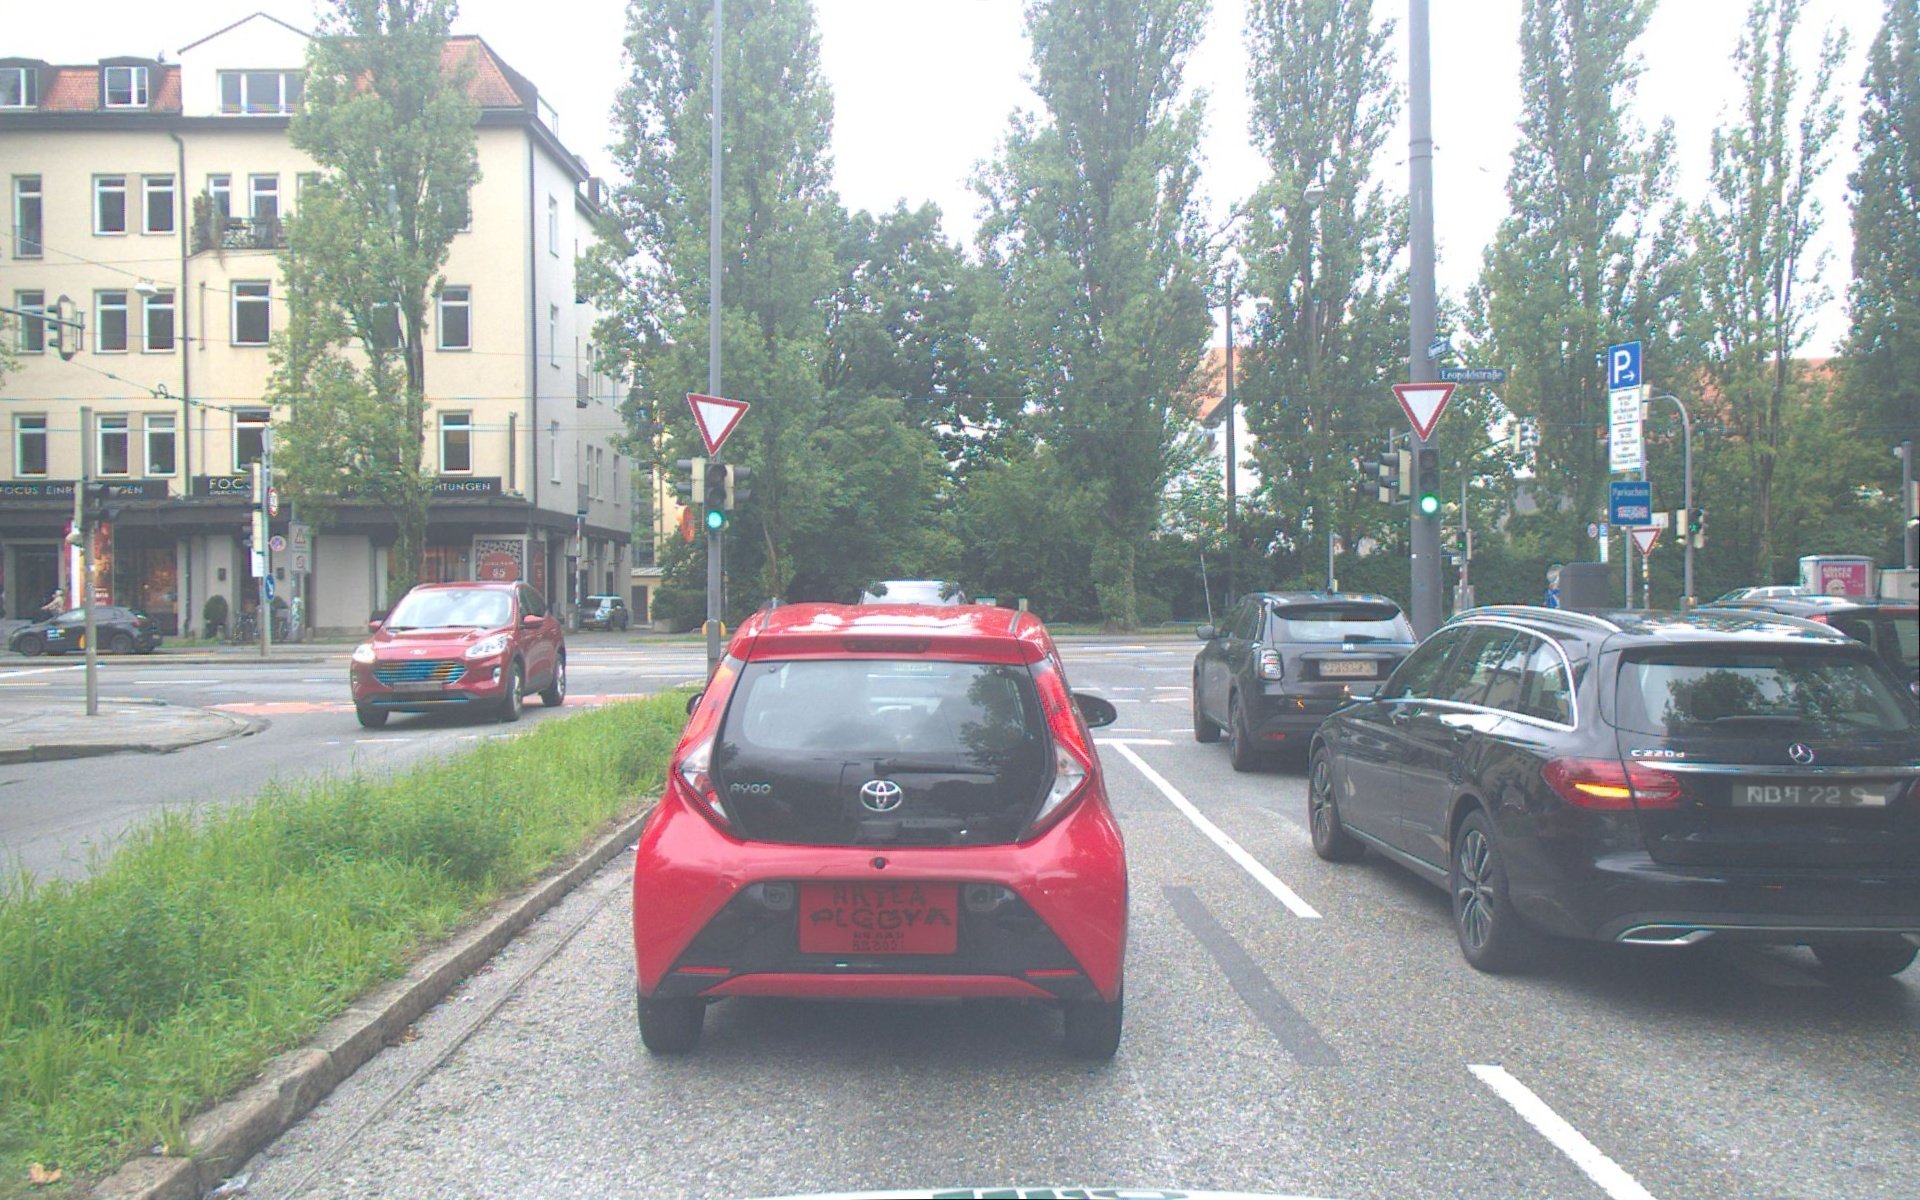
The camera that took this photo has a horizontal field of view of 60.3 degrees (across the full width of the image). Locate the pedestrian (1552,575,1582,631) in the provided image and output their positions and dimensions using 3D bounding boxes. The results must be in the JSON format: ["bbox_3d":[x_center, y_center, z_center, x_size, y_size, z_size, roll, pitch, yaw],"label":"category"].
[{"bbox_3d":[18.235,0.090,49.668,0.689,1.692,0.549,0,-1,39],"label":"pedestrian"}]

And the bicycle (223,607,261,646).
[{"bbox_3d":[-23.024,0.833,53.033,0.485,1.206,1.888,-1,0,-4],"label":"bicycle"}]

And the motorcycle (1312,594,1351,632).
[{"bbox_3d":[11.868,0.417,52.924,0.616,1.190,2.027,1,0,-6],"label":"motorcycle"}]

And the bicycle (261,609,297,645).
[{"bbox_3d":[-21.823,0.860,53.036,0.485,1.100,1.888,-1,0,-4],"label":"bicycle"}]

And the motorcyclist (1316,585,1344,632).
[{"bbox_3d":[11.859,0.281,52.981,0.607,1.468,0.880,1,-1,-6],"label":"motorcyclist"}]

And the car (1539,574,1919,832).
[{"bbox_3d":[6.052,0.610,12.444,1.793,1.576,4.554,-1,0,0],"label":"car"}]

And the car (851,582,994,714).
[{"bbox_3d":[-0.437,0.567,22.265,1.700,1.576,4.576,-1,0,0],"label":"car"}]

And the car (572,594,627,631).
[{"bbox_3d":[-14.988,0.489,68.948,1.691,1.467,3.997,-1,0,-4],"label":"car"}]

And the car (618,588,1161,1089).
[{"bbox_3d":[-0.197,0.696,6.600,1.595,1.465,3.377,-1,0,0],"label":"car"}]

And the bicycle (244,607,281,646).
[{"bbox_3d":[-22.336,0.844,52.972,0.485,1.206,1.888,-1,0,-4],"label":"bicycle"}]

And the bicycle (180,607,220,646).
[{"bbox_3d":[-24.353,0.836,53.011,0.485,1.206,1.888,-1,0,-4],"label":"bicycle"}]

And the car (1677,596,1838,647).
[{"bbox_3d":[25.303,0.678,52.558,4.251,1.512,1.786,-1,0,-3],"label":"car"}]

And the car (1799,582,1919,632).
[{"bbox_3d":[29.665,0.211,53.532,4.160,1.512,1.786,-1,0,-3],"label":"car"}]

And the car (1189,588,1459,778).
[{"bbox_3d":[3.223,0.672,15.397,1.744,1.512,4.001,-1,0,2],"label":"car"}]

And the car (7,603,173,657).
[{"bbox_3d":[-25.584,0.869,48.755,3.909,1.491,1.803,-1,0,-5],"label":"car"}]

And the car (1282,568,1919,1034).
[{"bbox_3d":[2.963,0.679,8.014,1.825,1.576,4.703,1,0,-1],"label":"car"}]

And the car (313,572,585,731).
[{"bbox_3d":[-6.214,0.526,20.792,2.061,1.666,4.937,-1,1,-3],"label":"car"}]
